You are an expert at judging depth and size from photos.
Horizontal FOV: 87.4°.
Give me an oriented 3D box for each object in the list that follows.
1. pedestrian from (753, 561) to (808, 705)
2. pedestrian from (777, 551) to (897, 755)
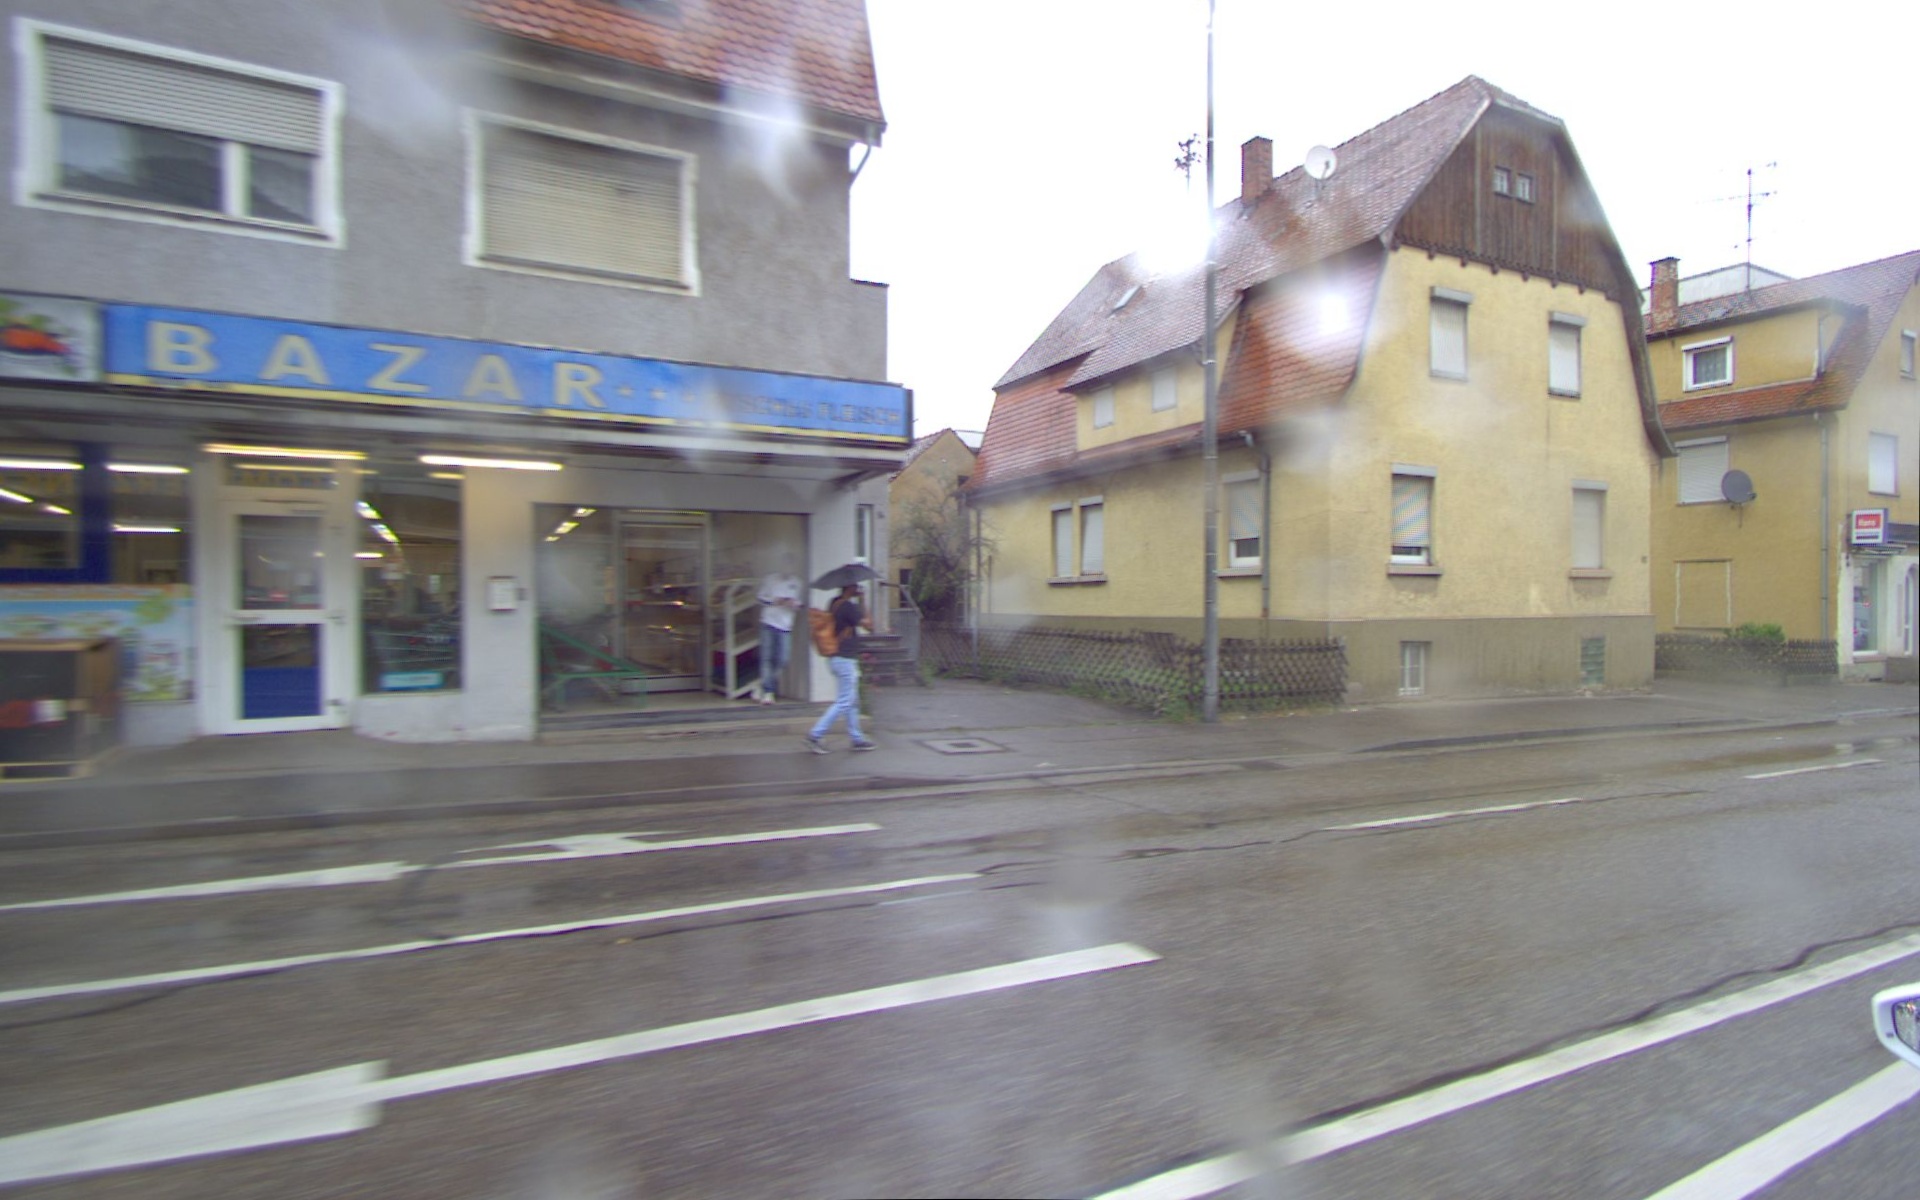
[{"bbox_3d":[-2.019,0.368,11.296,0.441,1.578,0.541,2,-1,-28],"label":"pedestrian"},{"bbox_3d":[-1.241,0.509,10.108,0.938,1.947,0.656,2,1,-37],"label":"pedestrian"}]
